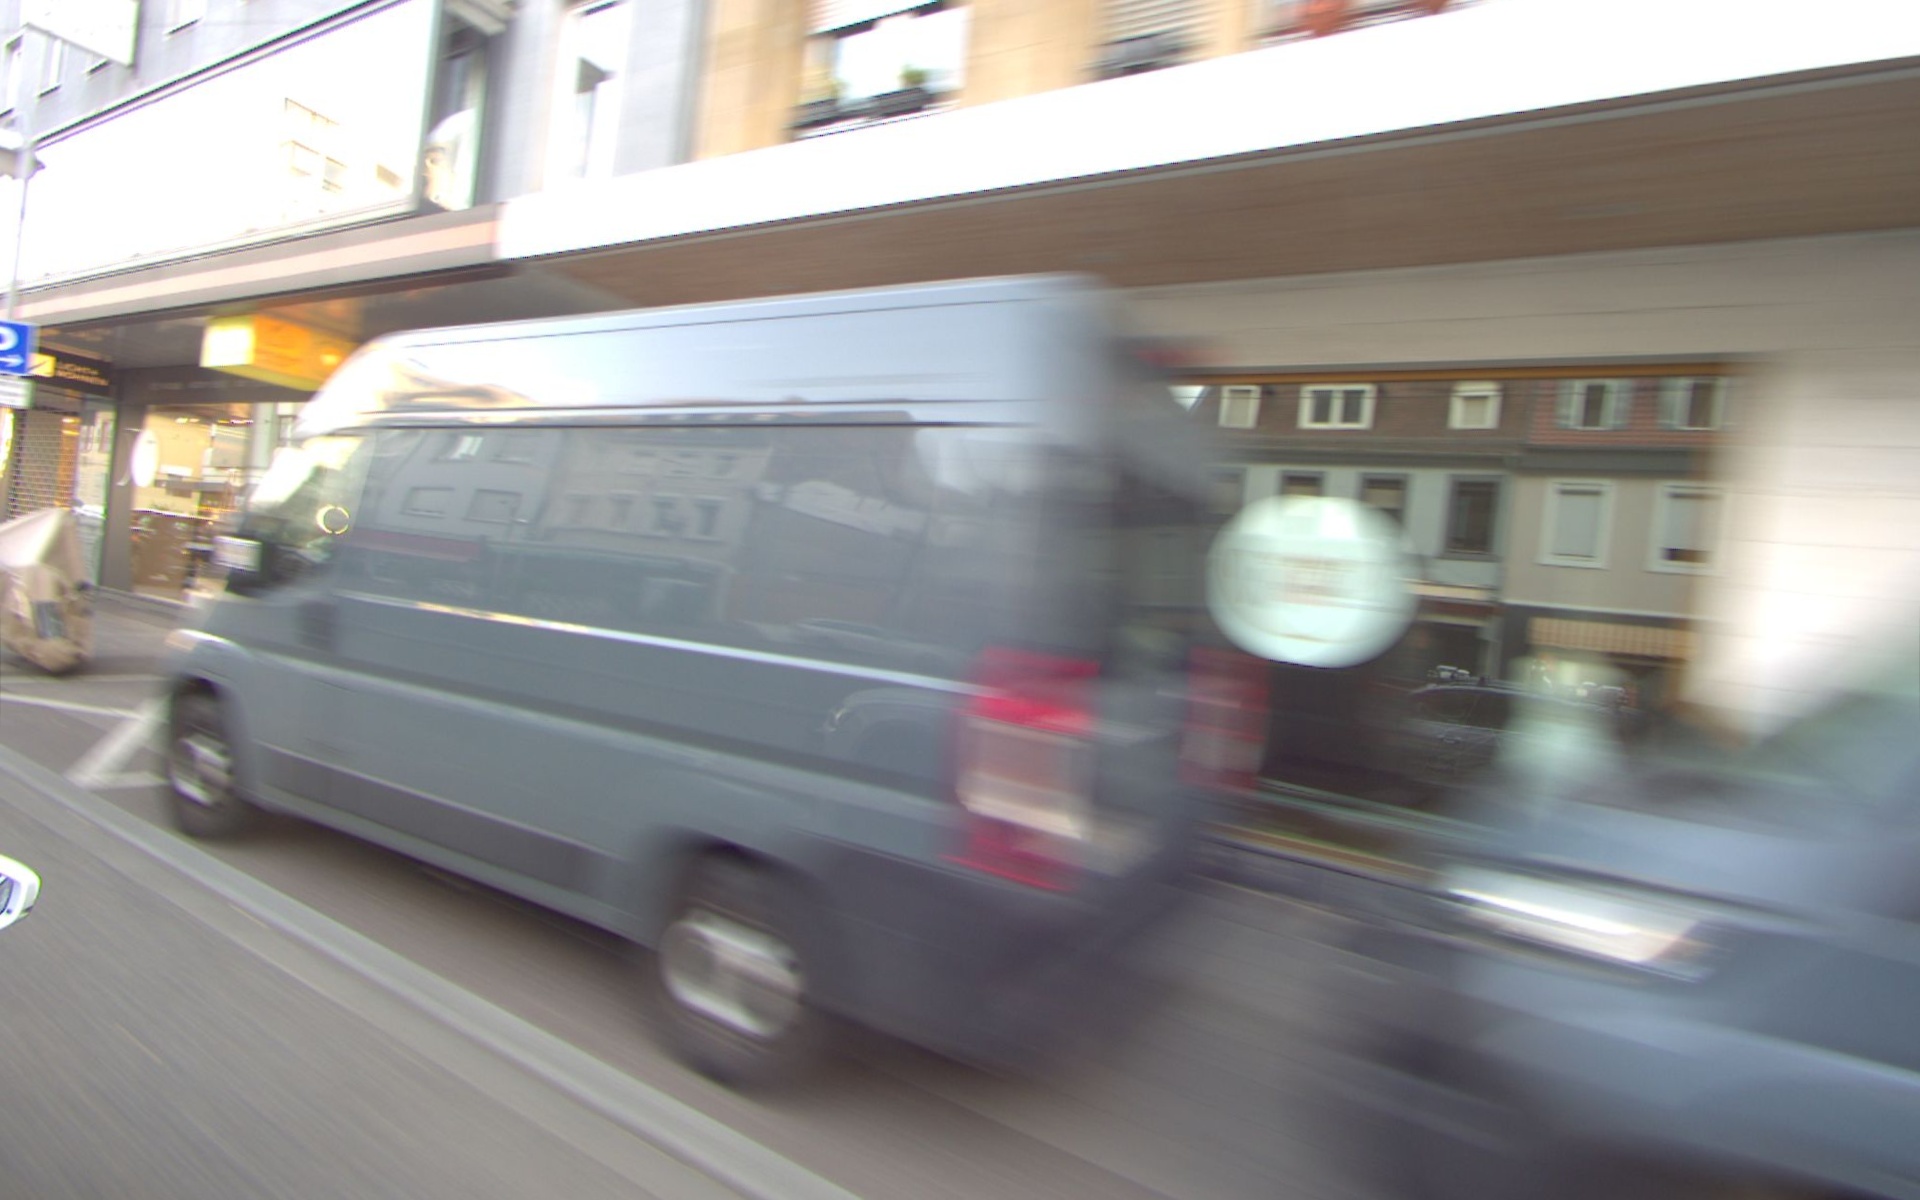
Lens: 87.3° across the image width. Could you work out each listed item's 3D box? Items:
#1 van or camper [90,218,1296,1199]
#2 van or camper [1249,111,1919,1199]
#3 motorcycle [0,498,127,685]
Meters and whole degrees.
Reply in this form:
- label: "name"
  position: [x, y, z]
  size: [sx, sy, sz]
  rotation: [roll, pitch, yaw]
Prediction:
- label: "van or camper"
  position: [-1.560, 0.112, 4.741]
  size: [5.425, 2.458, 2.190]
  rotation: [6, 2, 31]
- label: "van or camper"
  position: [3.792, 0.707, 1.401]
  size: [6.031, 2.458, 2.189]
  rotation: [6, 2, 32]
- label: "motorcycle"
  position: [-7.992, -0.116, 8.707]
  size: [1.976, 1.435, 0.811]
  rotation: [7, 2, 41]
